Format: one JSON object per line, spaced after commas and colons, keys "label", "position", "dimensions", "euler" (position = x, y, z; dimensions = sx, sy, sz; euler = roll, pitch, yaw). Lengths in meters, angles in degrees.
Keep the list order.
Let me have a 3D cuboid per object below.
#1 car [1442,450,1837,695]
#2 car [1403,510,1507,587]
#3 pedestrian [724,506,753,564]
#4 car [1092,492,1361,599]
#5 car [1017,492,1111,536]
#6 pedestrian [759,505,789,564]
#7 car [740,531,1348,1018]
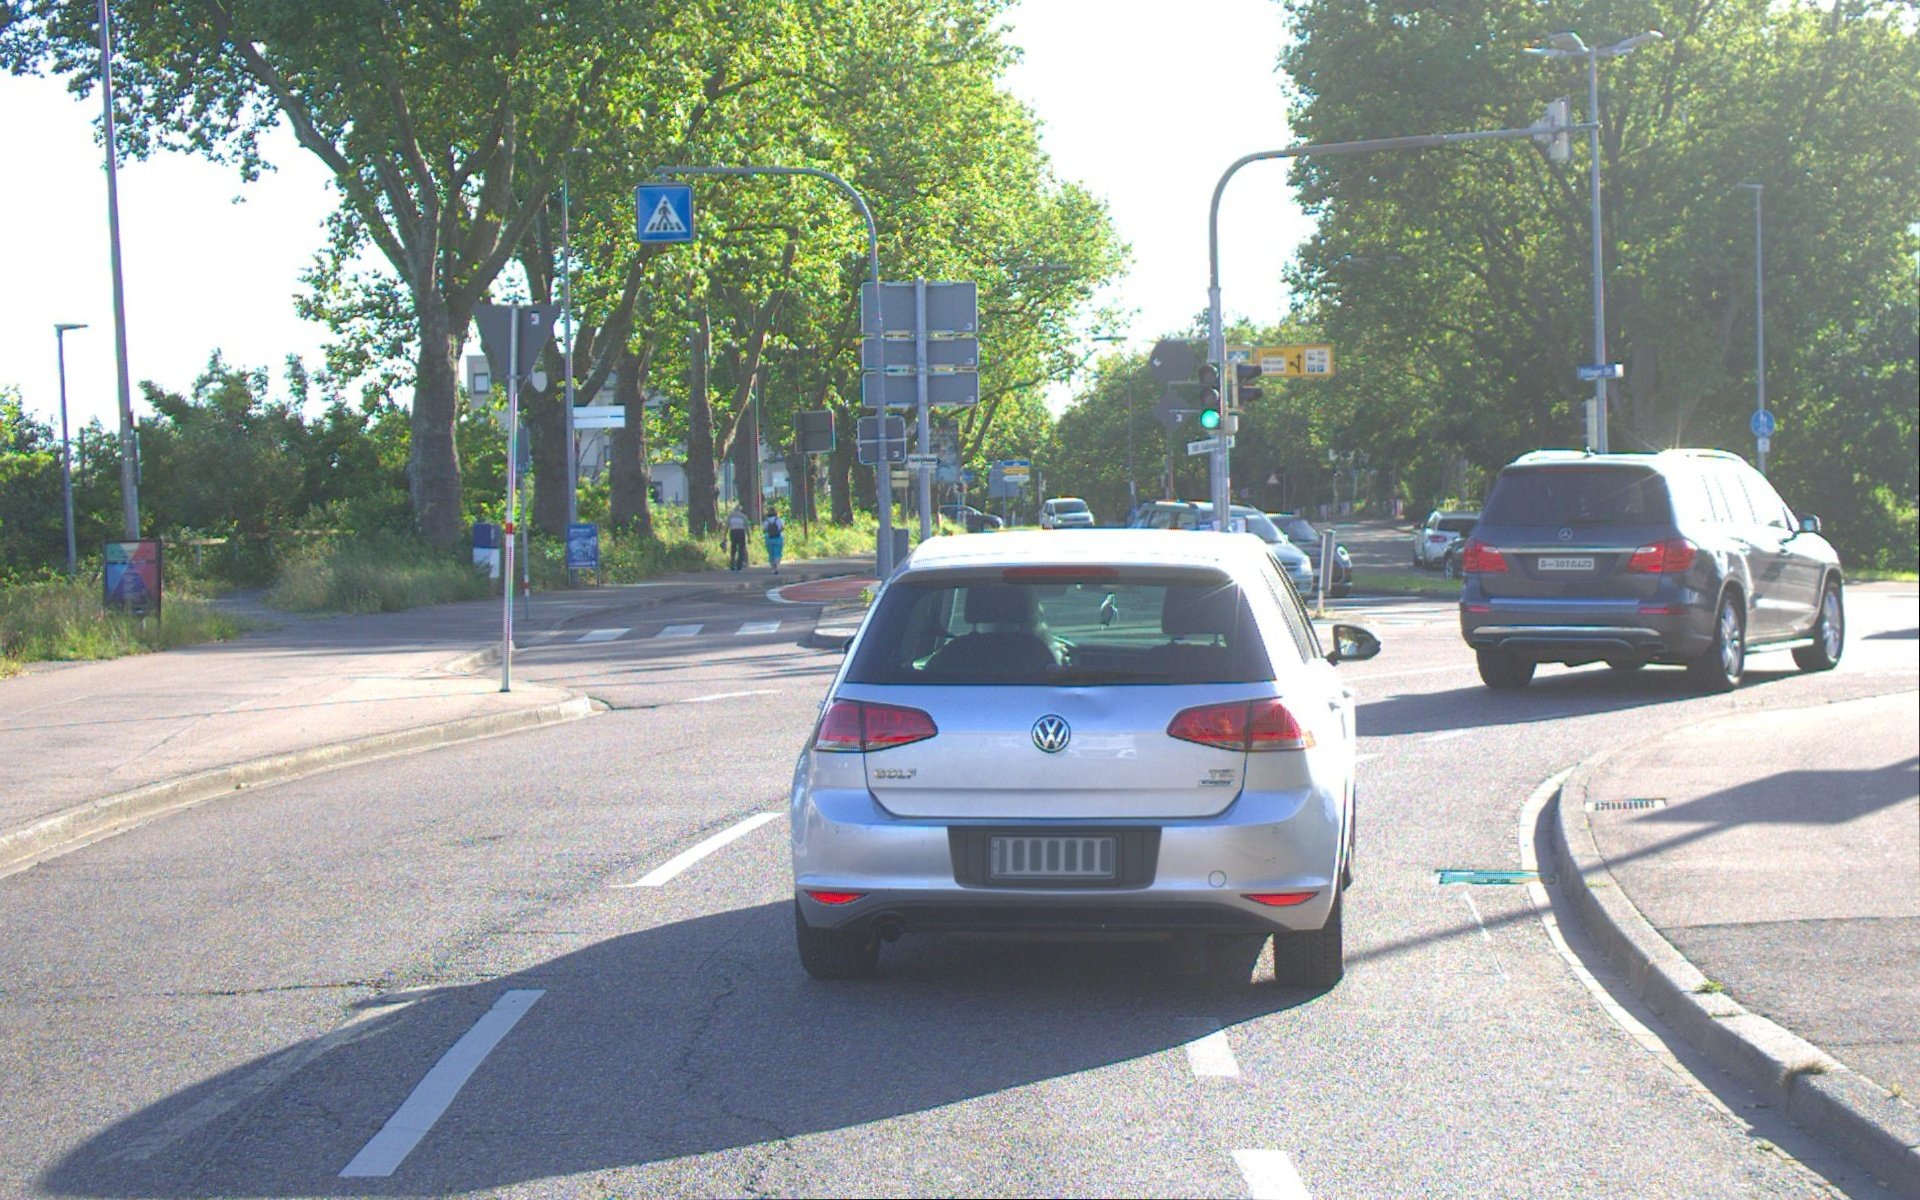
{"label": "car", "position": [5.464, -0.252, 27.186], "dimensions": [1.822, 1.762, 4.622], "euler": [1, 1, 28]}
{"label": "car", "position": [12.184, -1.247, 84.834], "dimensions": [1.993, 1.853, 4.000], "euler": [0, 0, 0]}
{"label": "pedestrian", "position": [-5.390, -1.588, 83.647], "dimensions": [0.678, 1.410, 0.684], "euler": [0, 1, 0]}
{"label": "car", "position": [4.110, -0.862, 53.488], "dimensions": [1.994, 1.590, 3.999], "euler": [-1, 2, -38]}
{"label": "car", "position": [4.715, -3.898, 156.048], "dimensions": [1.995, 2.007, 3.998], "euler": [-1, 2, -43]}
{"label": "pedestrian", "position": [-4.518, -1.589, 83.501], "dimensions": [0.678, 1.410, 0.684], "euler": [0, 1, 0]}
{"label": "car", "position": [0.445, 0.468, 12.095], "dimensions": [1.790, 1.415, 3.999], "euler": [0, 1, 6]}
